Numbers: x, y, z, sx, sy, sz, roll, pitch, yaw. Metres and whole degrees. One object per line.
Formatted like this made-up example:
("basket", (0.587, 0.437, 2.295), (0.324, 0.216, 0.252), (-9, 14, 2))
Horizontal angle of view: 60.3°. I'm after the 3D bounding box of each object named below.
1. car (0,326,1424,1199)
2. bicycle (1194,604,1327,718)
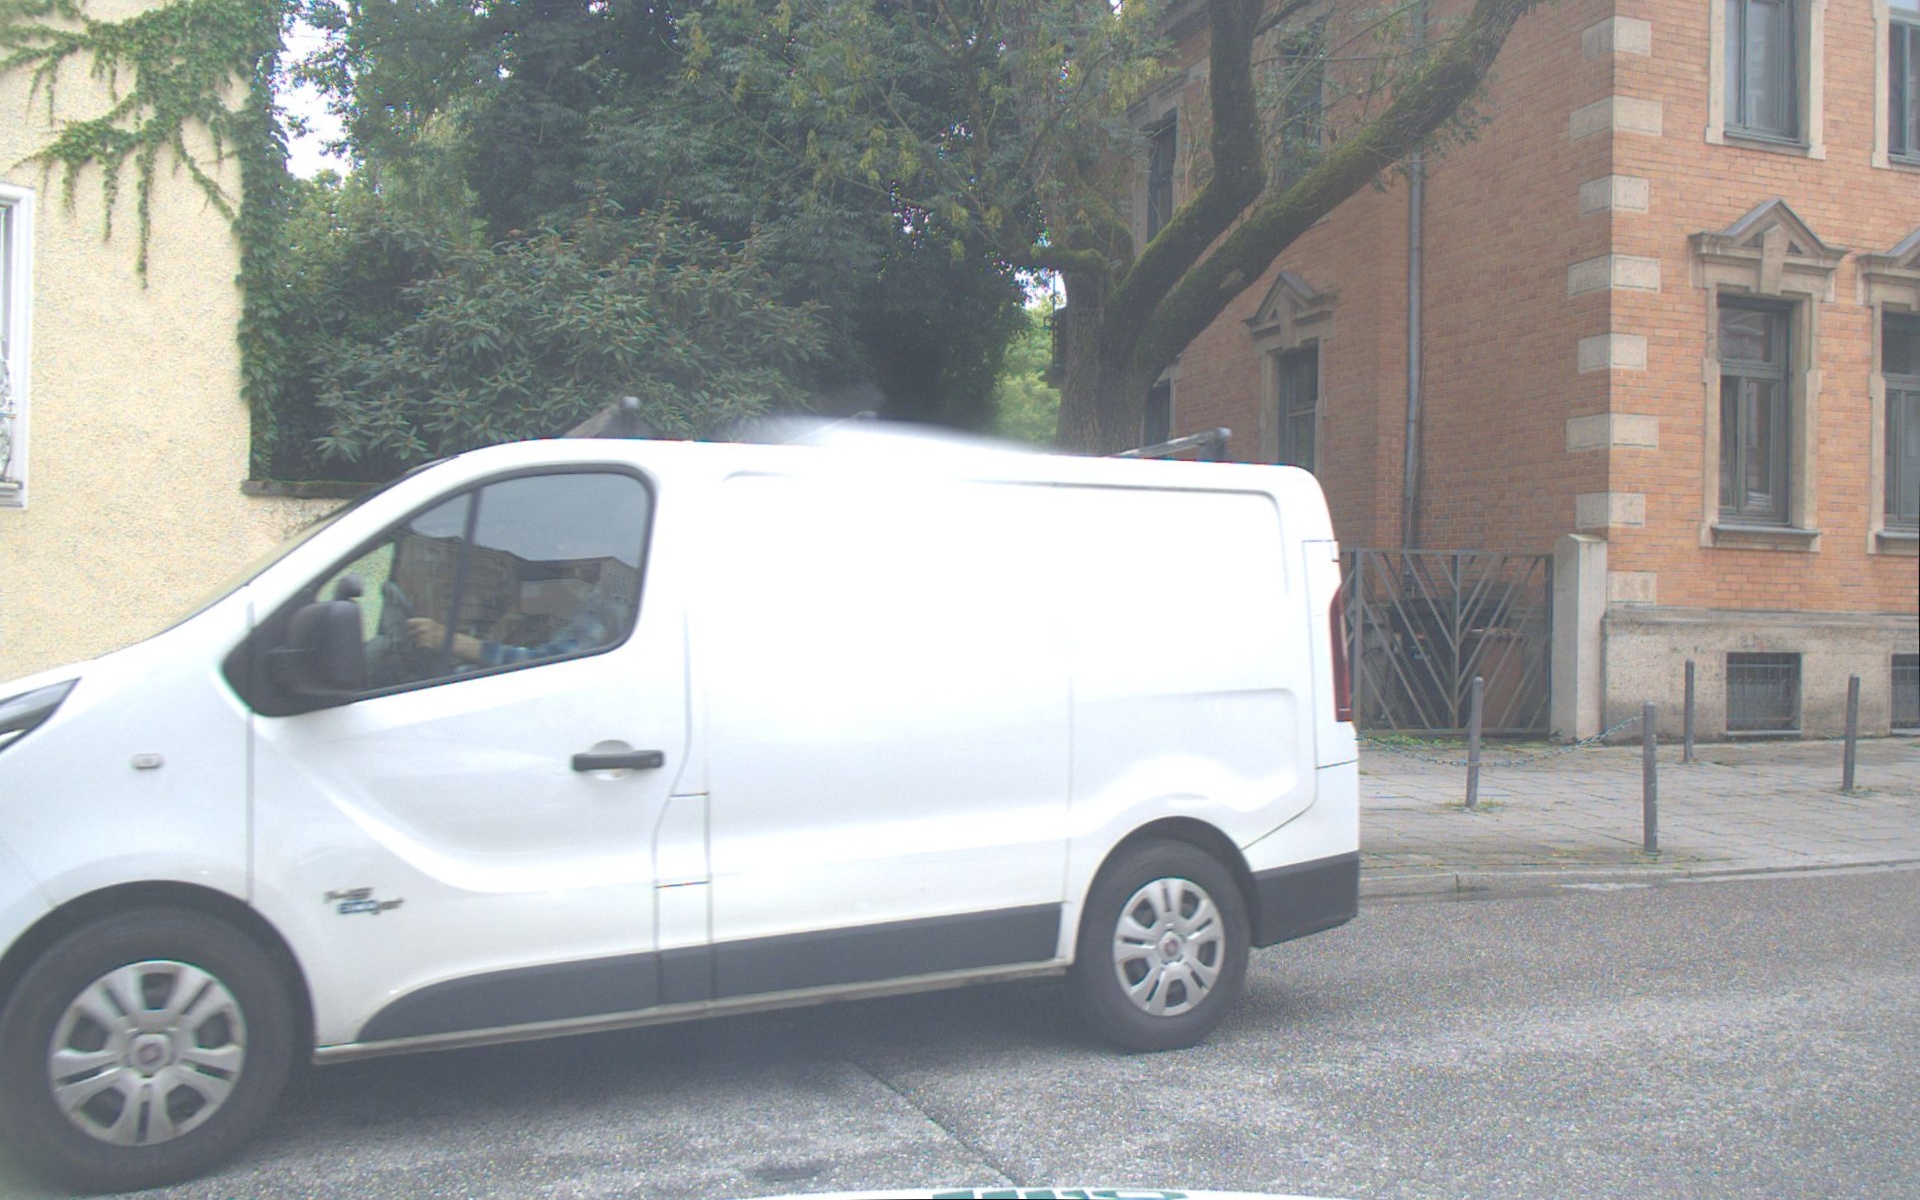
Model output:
("car", (-1.005, 0.428, 5.603), (4.881, 2.077, 2.029), (0, -1, -26))
("bicycle", (3.424, 0.673, 19.039), (0.526, 1.240, 2.070), (1, -1, -20))
